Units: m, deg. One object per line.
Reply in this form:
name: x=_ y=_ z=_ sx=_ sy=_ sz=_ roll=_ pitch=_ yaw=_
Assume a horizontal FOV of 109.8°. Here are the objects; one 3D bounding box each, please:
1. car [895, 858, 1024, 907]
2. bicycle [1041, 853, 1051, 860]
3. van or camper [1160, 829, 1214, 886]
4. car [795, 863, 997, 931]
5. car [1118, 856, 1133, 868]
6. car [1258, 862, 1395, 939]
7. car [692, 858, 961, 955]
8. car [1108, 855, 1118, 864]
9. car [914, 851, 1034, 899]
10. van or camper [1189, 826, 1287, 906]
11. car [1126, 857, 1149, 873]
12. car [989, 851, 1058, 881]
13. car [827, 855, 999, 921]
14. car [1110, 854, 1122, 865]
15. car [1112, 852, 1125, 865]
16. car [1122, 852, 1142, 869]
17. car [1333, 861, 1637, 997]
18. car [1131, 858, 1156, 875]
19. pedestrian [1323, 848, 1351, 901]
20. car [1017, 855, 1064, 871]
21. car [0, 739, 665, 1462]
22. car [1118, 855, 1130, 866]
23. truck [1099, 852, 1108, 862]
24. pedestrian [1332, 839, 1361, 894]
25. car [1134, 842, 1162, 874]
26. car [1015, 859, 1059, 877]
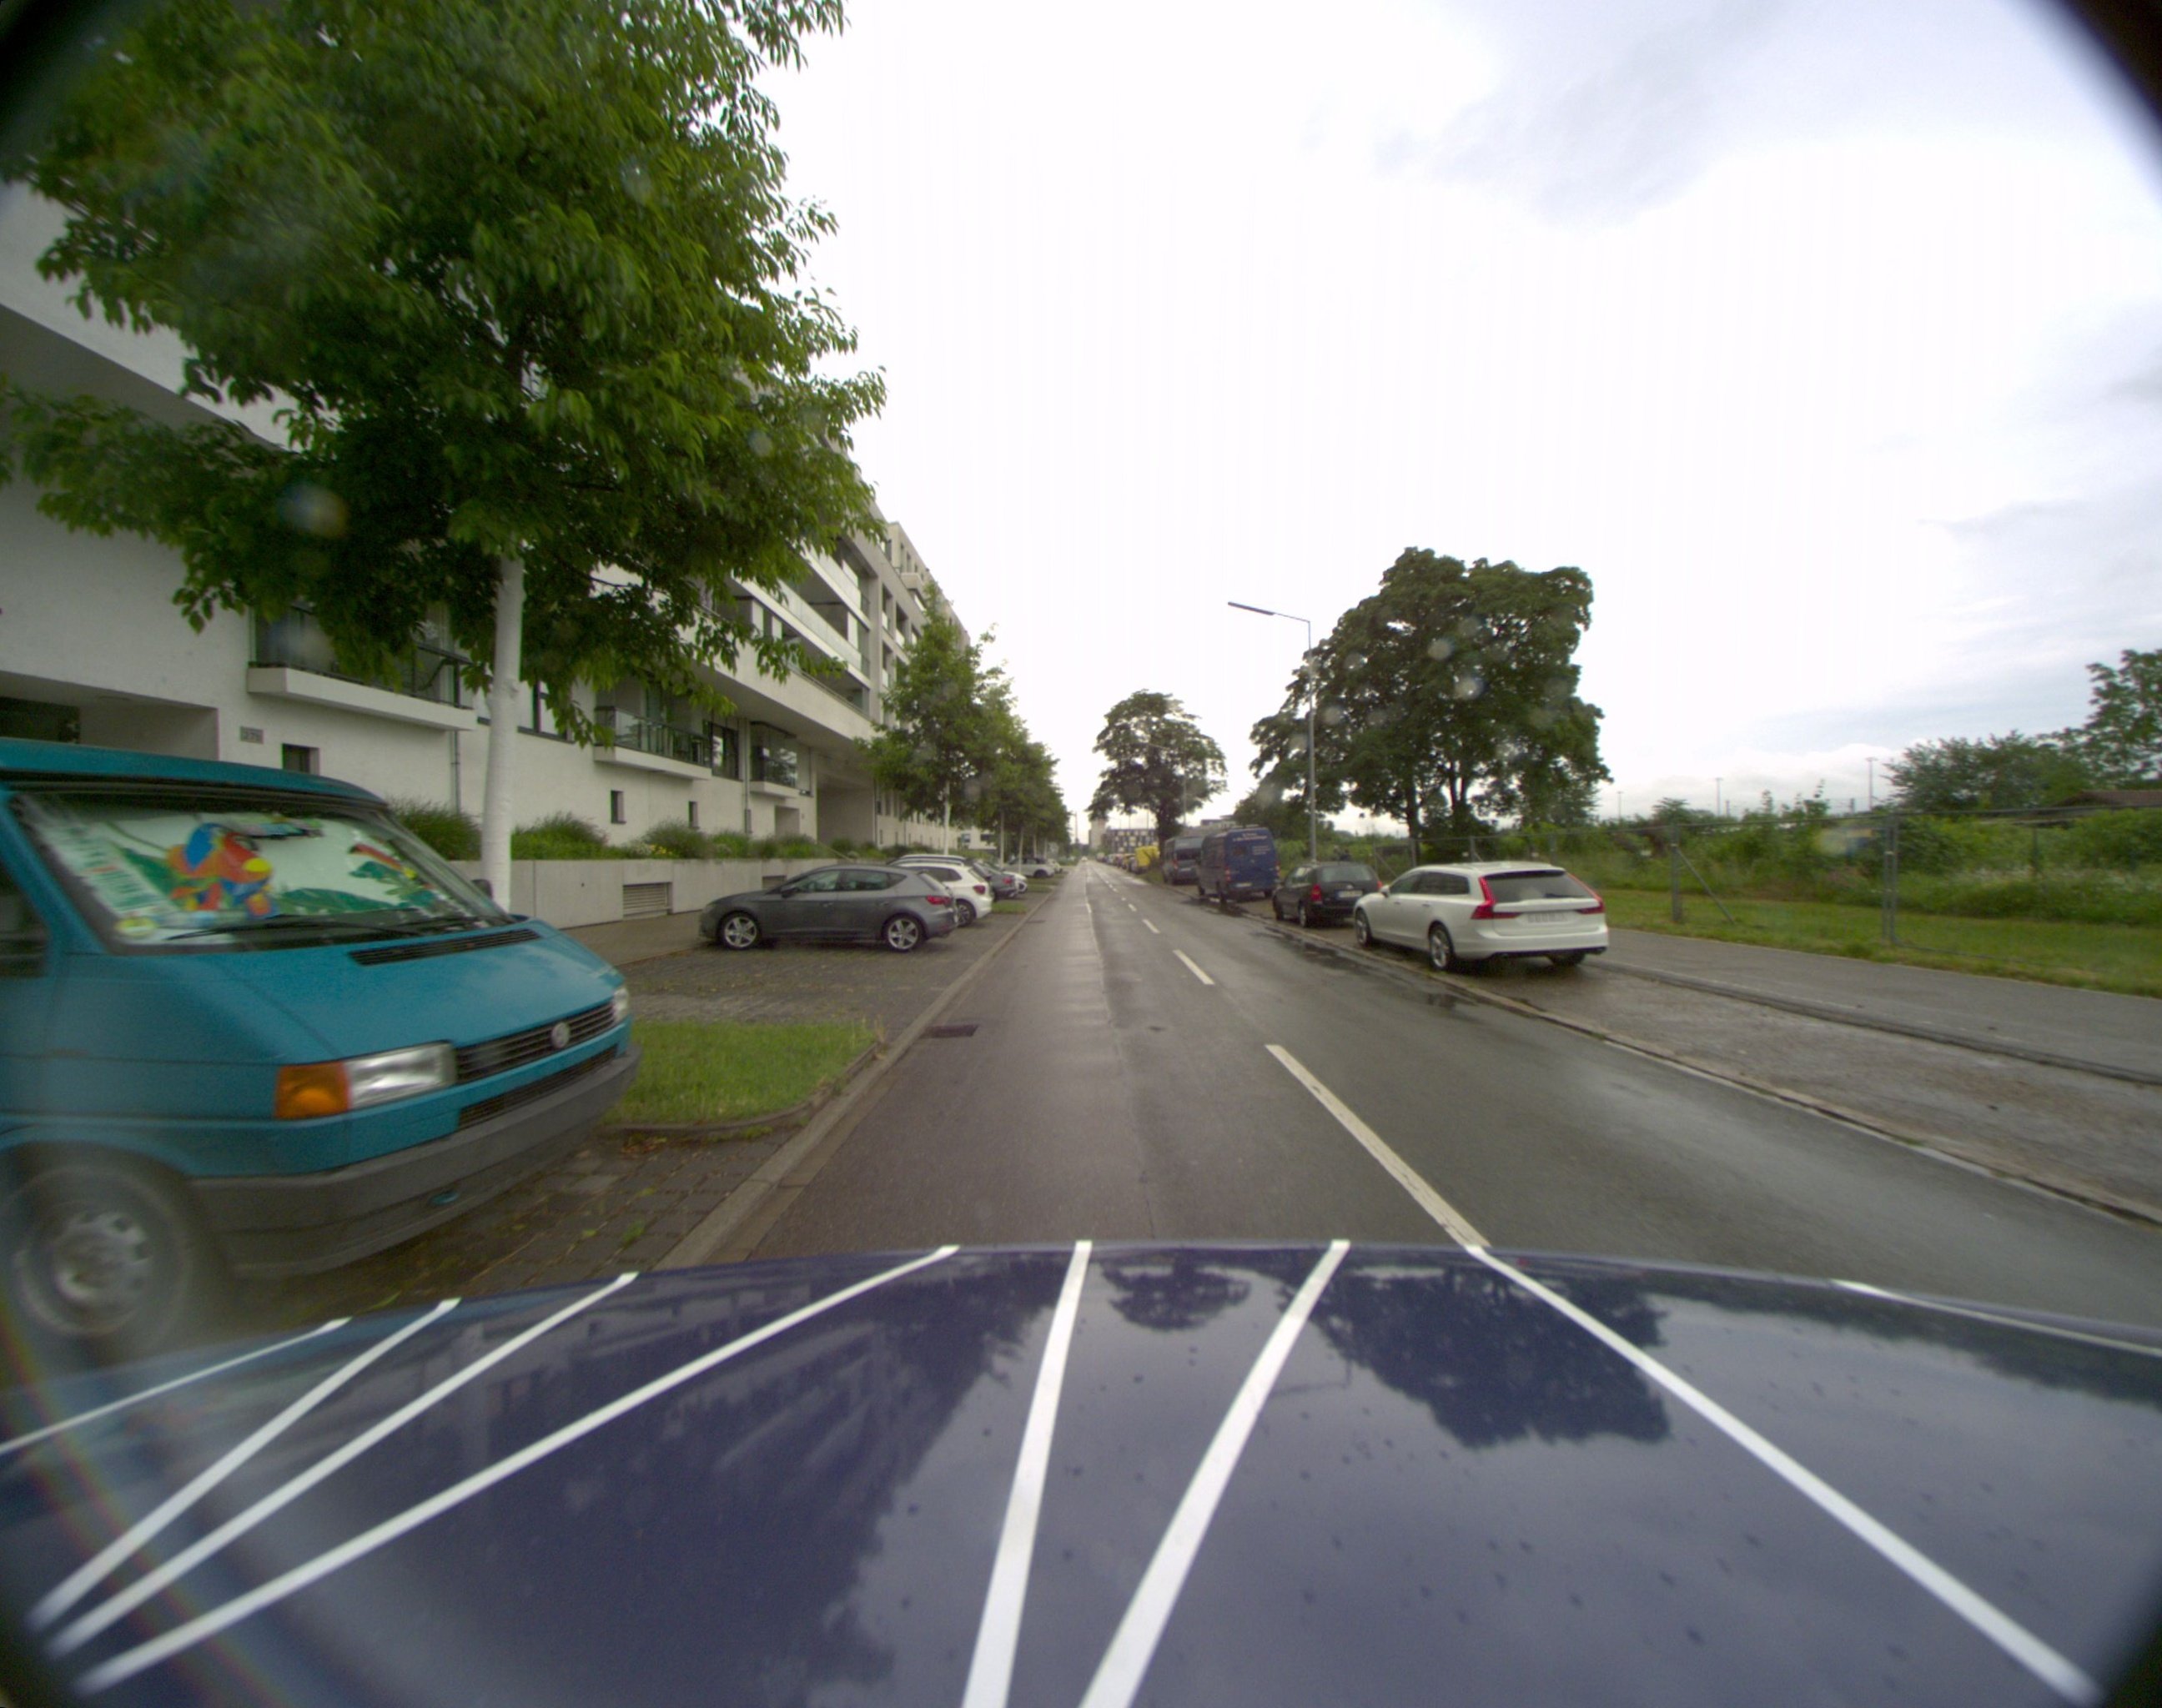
car: x=-4.009 y=0.928 z=25.478 sx=3.997 sy=1.501 sz=1.684 roll=1 pitch=-1 yaw=0
bicycle: x=-7.655 y=0.590 z=165.364 sx=2.189 sy=1.513 sz=0.631 roll=1 pitch=0 yaw=21
van or camper: x=6.235 y=0.166 z=45.549 sx=2.100 sy=3.076 sz=6.423 roll=-3 pitch=1 yaw=-1
car: x=-4.228 y=0.986 z=17.829 sx=4.310 sy=1.420 sz=1.636 roll=1 pitch=0 yaw=-2
car: x=6.216 y=1.086 z=106.878 sx=1.808 sy=1.552 sz=4.033 roll=-3 pitch=0 yaw=1
car: x=5.744 y=1.008 z=18.425 sx=1.778 sy=1.494 sz=4.828 roll=-3 pitch=0 yaw=1
car: x=-4.196 y=0.853 z=13.003 sx=4.041 sy=1.490 sz=1.631 roll=1 pitch=0 yaw=-3
car: x=6.736 y=1.211 z=159.876 sx=1.961 sy=1.890 sz=4.995 roll=-1 pitch=0 yaw=1
car: x=-4.182 y=0.827 z=30.281 sx=4.488 sy=1.677 sz=1.936 roll=3 pitch=0 yaw=-1
van or camper: x=6.067 y=0.386 z=30.575 sx=2.100 sy=2.700 sz=7.572 roll=-3 pitch=1 yaw=-1
car: x=6.072 y=1.143 z=81.934 sx=1.999 sy=1.585 sz=5.017 roll=-3 pitch=0 yaw=-1
car: x=-3.885 y=0.831 z=51.994 sx=4.552 sy=1.675 sz=1.885 roll=4 pitch=0 yaw=-2
car: x=-4.374 y=0.872 z=20.291 sx=4.173 sy=1.615 sz=1.897 roll=1 pitch=0 yaw=-2
car: x=6.738 y=1.037 z=146.748 sx=1.964 sy=2.046 sz=5.274 roll=-1 pitch=0 yaw=1
car: x=6.685 y=0.833 z=135.627 sx=1.947 sy=2.223 sz=5.557 roll=-1 pitch=0 yaw=0
car: x=6.325 y=0.753 z=94.227 sx=2.022 sy=1.945 sz=6.064 roll=-2 pitch=0 yaw=0
car: x=5.734 y=0.928 z=11.737 sx=1.892 sy=1.517 sz=5.109 roll=-3 pitch=0 yaw=0
car: x=6.242 y=1.212 z=76.600 sx=2.015 sy=1.426 sz=5.339 roll=-3 pitch=0 yaw=0
pedestrian: x=9.852 y=0.769 z=29.267 sx=0.739 sy=2.002 sz=0.900 roll=-2 pitch=0 yaw=0
car: x=-4.010 y=0.873 z=74.939 sx=4.499 sy=1.472 sz=1.692 roll=2 pitch=0 yaw=0
car: x=-4.493 y=0.700 z=3.005 sx=4.630 sy=2.008 sz=1.858 roll=0 pitch=0 yaw=-1
car: x=6.988 y=1.017 z=124.181 sx=1.944 sy=1.757 sz=4.332 roll=-1 pitch=0 yaw=2
truck: x=7.433 y=0.898 z=250.847 sx=2.442 sy=3.050 sz=6.700 roll=-2 pitch=0 yaw=0
pedestrian: x=9.841 y=0.450 z=28.174 sx=0.721 sy=2.002 sz=0.853 roll=-2 pitch=0 yaw=0
car: x=6.147 y=0.367 z=70.221 sx=2.197 sy=2.678 sz=6.082 roll=-3 pitch=0 yaw=2
car: x=-4.009 y=1.282 z=69.641 sx=3.967 sy=1.465 sz=1.591 roll=-2 pitch=0 yaw=-2
